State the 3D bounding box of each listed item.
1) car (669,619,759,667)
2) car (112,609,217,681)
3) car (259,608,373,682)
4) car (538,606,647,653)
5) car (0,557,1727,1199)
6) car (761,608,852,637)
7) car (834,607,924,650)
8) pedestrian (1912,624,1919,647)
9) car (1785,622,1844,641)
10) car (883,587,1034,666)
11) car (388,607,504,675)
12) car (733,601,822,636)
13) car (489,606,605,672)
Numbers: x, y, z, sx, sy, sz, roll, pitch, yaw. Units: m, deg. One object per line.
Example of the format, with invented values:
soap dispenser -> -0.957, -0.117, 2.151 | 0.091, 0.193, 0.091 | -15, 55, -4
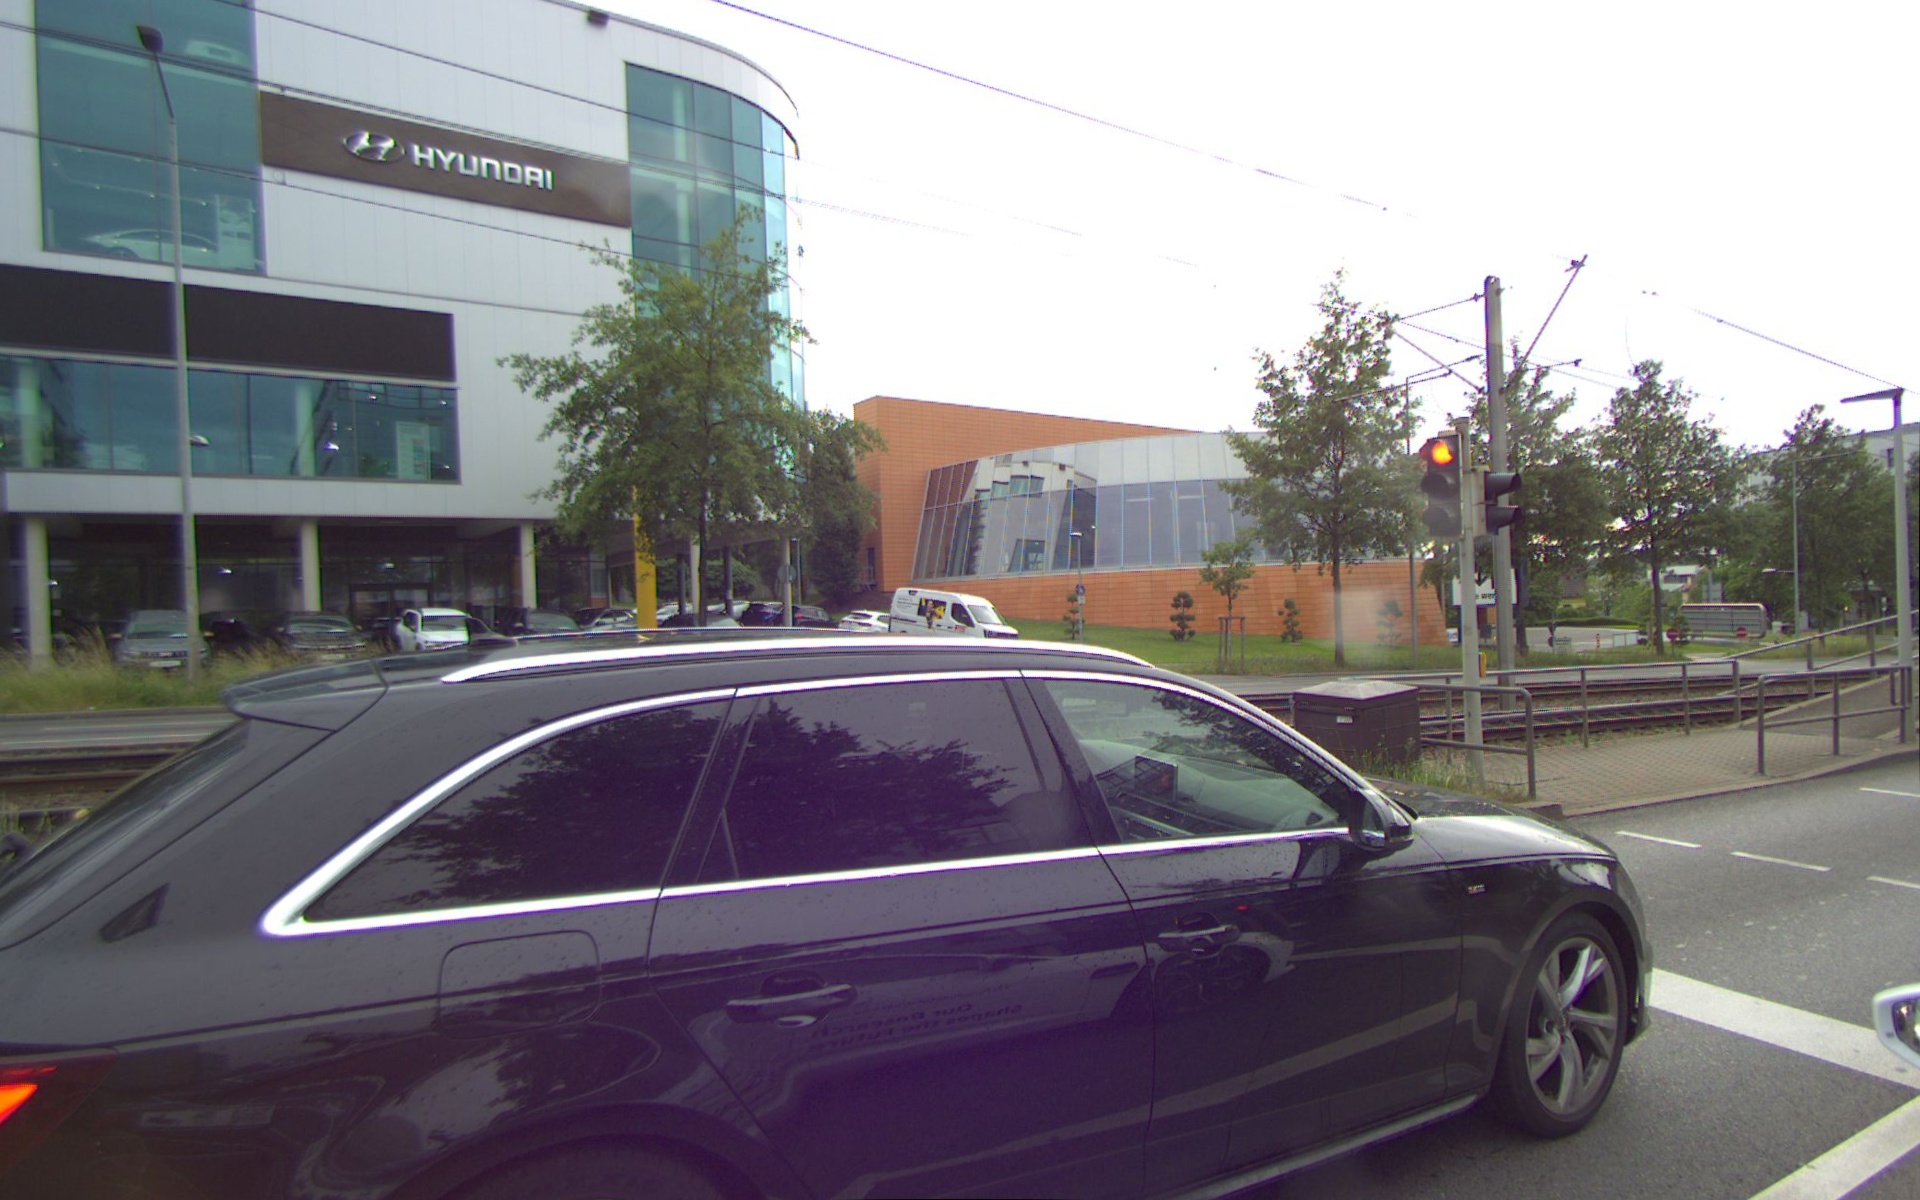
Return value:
car -> -7.844, 1.310, 31.823 | 1.565, 1.409, 3.619 | 0, -1, -36
car -> -19.873, 1.061, 25.059 | 1.917, 1.479, 3.974 | 1, 1, -40
car -> -16.963, 1.107, 26.385 | 1.984, 1.571, 4.324 | 1, 1, -40
car -> -12.839, 1.012, 35.335 | 1.691, 1.572, 3.587 | 0, -1, 20
car -> 0.133, 0.728, 2.889 | 4.461, 1.486, 1.772 | 1, -1, -31
car -> -7.225, 1.062, 47.509 | 1.969, 1.297, 3.982 | 0, -1, 39
car -> -3.347, 1.162, 42.155 | 1.703, 1.688, 3.734 | 1, -1, 38
pedestrian -> 79.380, 2.955, 83.297 | 0.484, 1.946, 0.473 | 1, 0, -30
car -> 66.538, 2.428, 78.291 | 1.408, 1.405, 3.371 | 0, 0, -13
car -> -0.127, 0.915, 38.105 | 5.544, 2.616, 2.392 | 3, 1, 43
car -> -14.506, 1.076, 28.241 | 1.984, 1.571, 4.324 | 1, 1, -40
car -> -8.876, 0.908, 49.074 | 1.969, 1.653, 3.982 | 0, -1, 39
car -> -12.353, 1.100, 29.887 | 1.984, 1.637, 4.324 | 1, 1, -40
